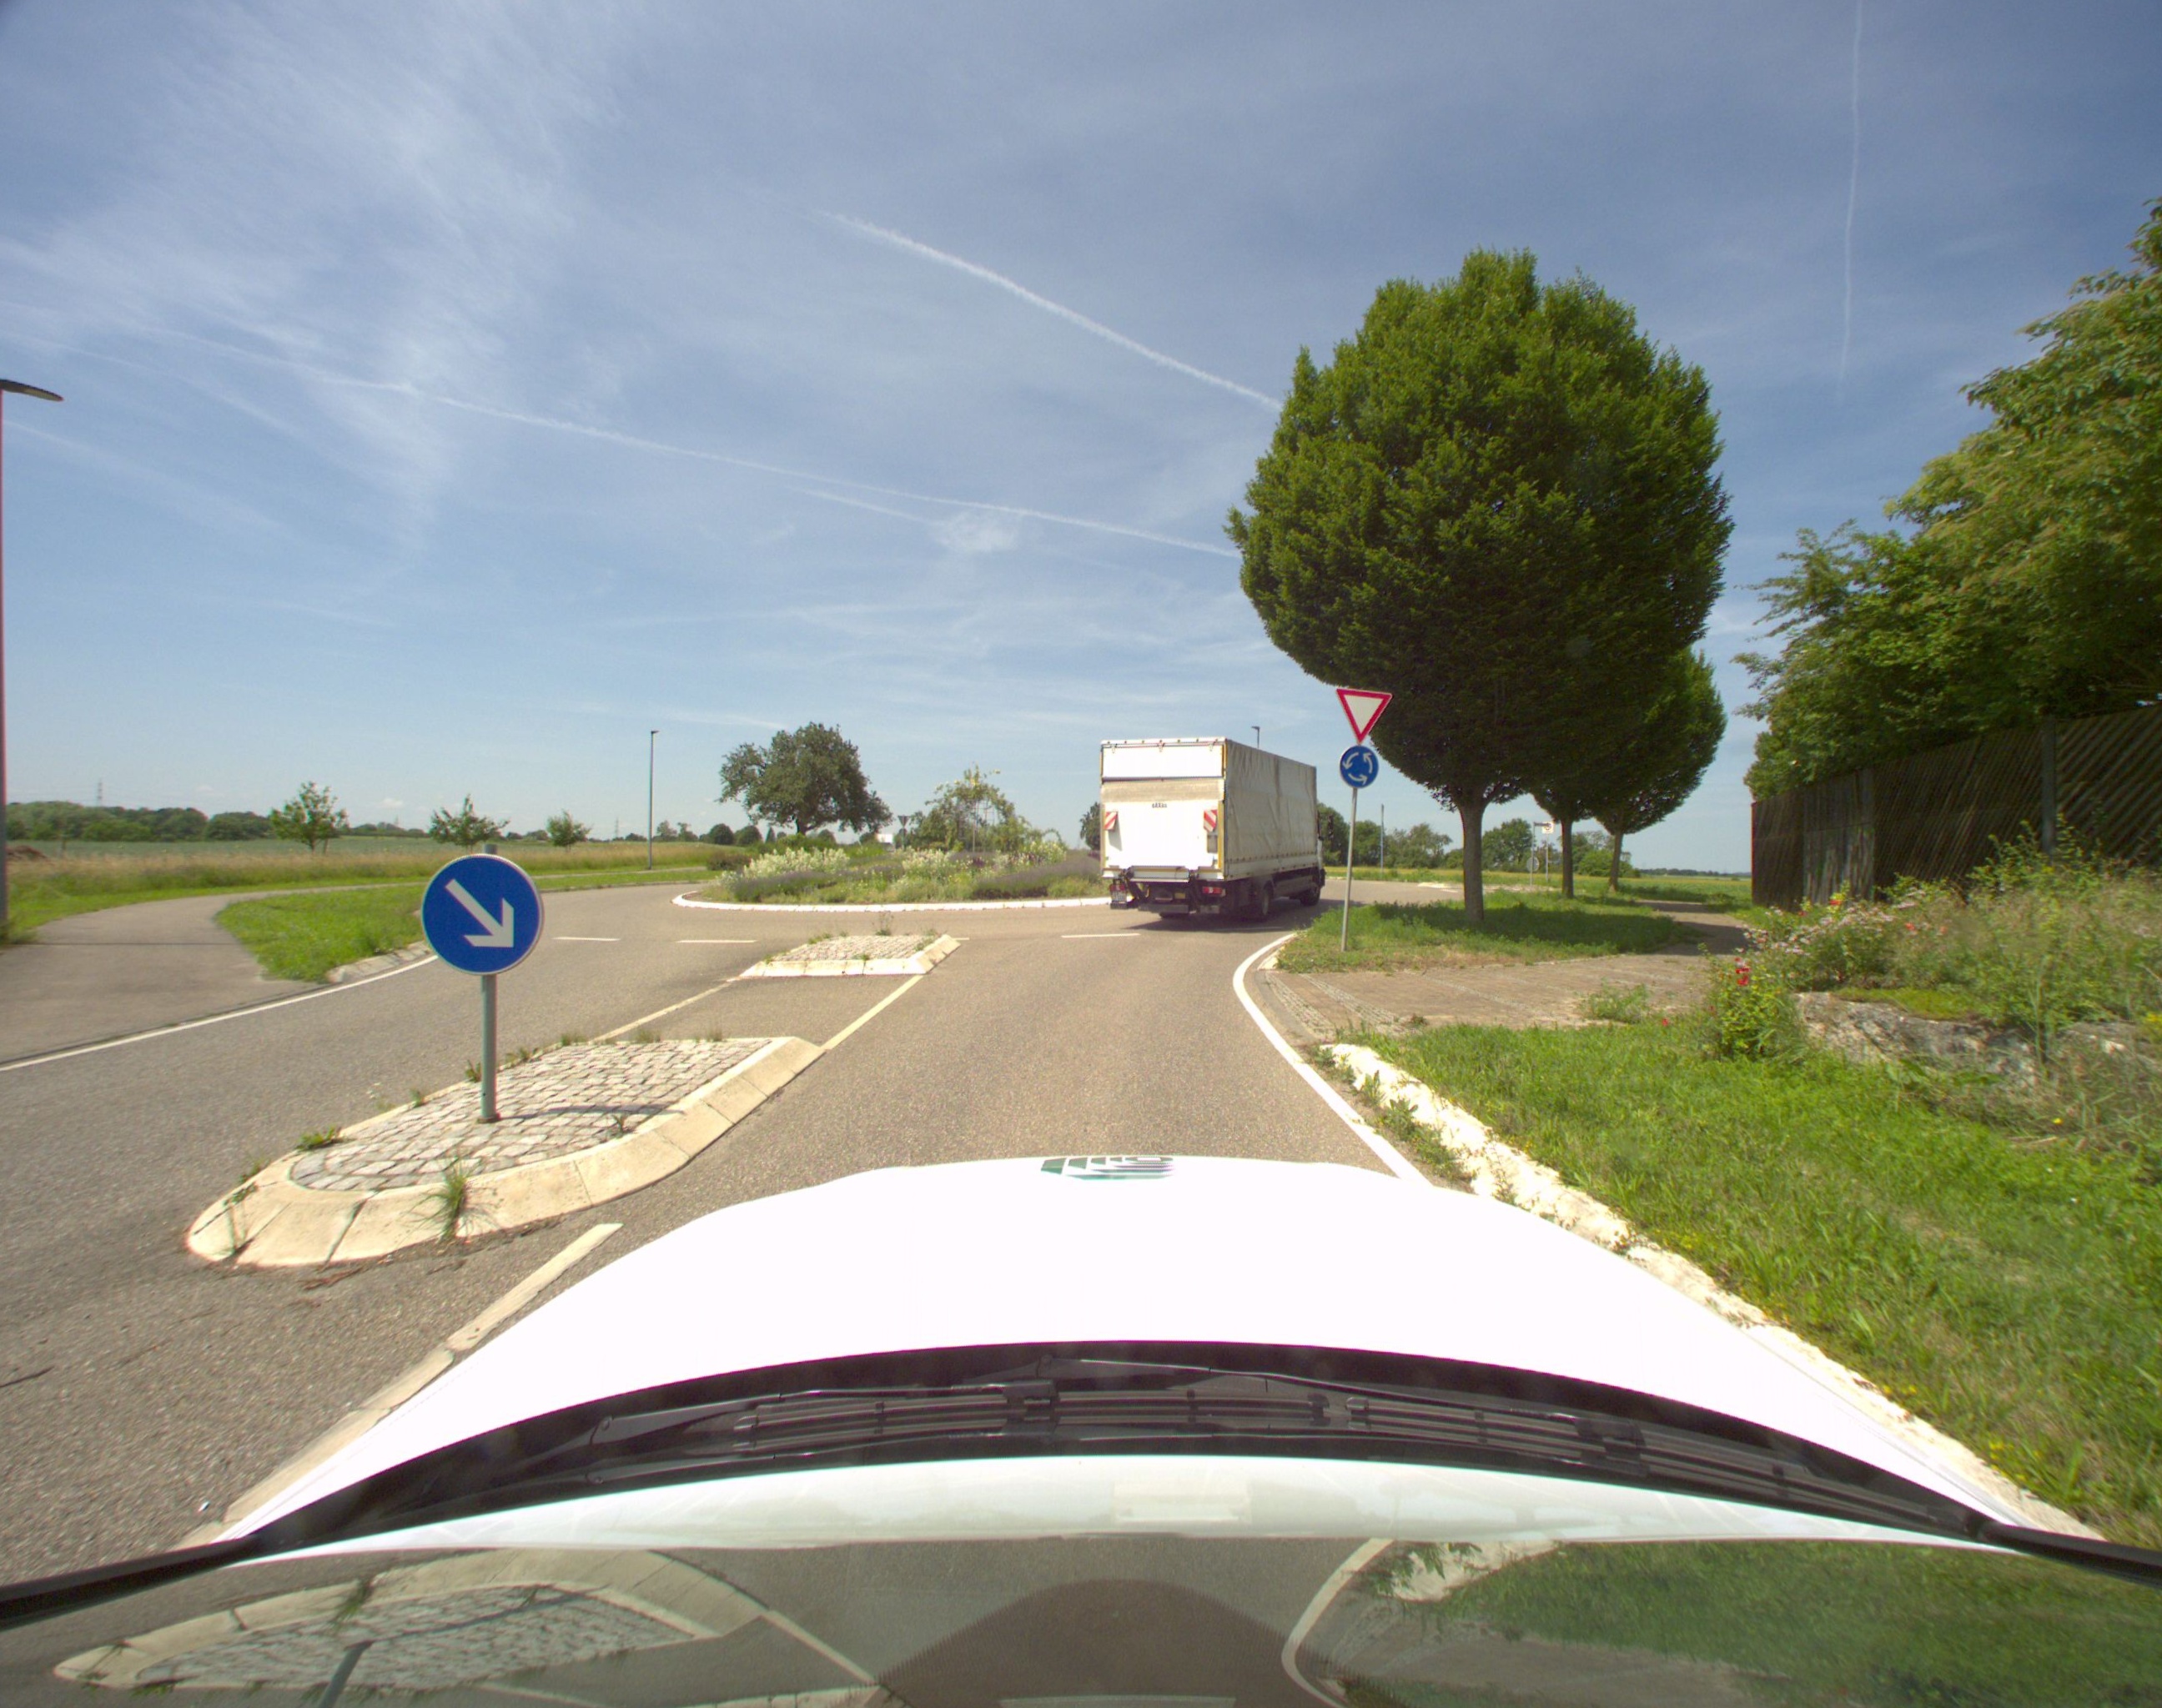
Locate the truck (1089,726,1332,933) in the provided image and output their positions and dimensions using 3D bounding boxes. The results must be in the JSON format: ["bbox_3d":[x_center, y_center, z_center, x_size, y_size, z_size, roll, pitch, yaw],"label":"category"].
[{"bbox_3d":[3.587,-0.487,19.254,2.741,3.670,9.440,0,1,28],"label":"truck"}]
